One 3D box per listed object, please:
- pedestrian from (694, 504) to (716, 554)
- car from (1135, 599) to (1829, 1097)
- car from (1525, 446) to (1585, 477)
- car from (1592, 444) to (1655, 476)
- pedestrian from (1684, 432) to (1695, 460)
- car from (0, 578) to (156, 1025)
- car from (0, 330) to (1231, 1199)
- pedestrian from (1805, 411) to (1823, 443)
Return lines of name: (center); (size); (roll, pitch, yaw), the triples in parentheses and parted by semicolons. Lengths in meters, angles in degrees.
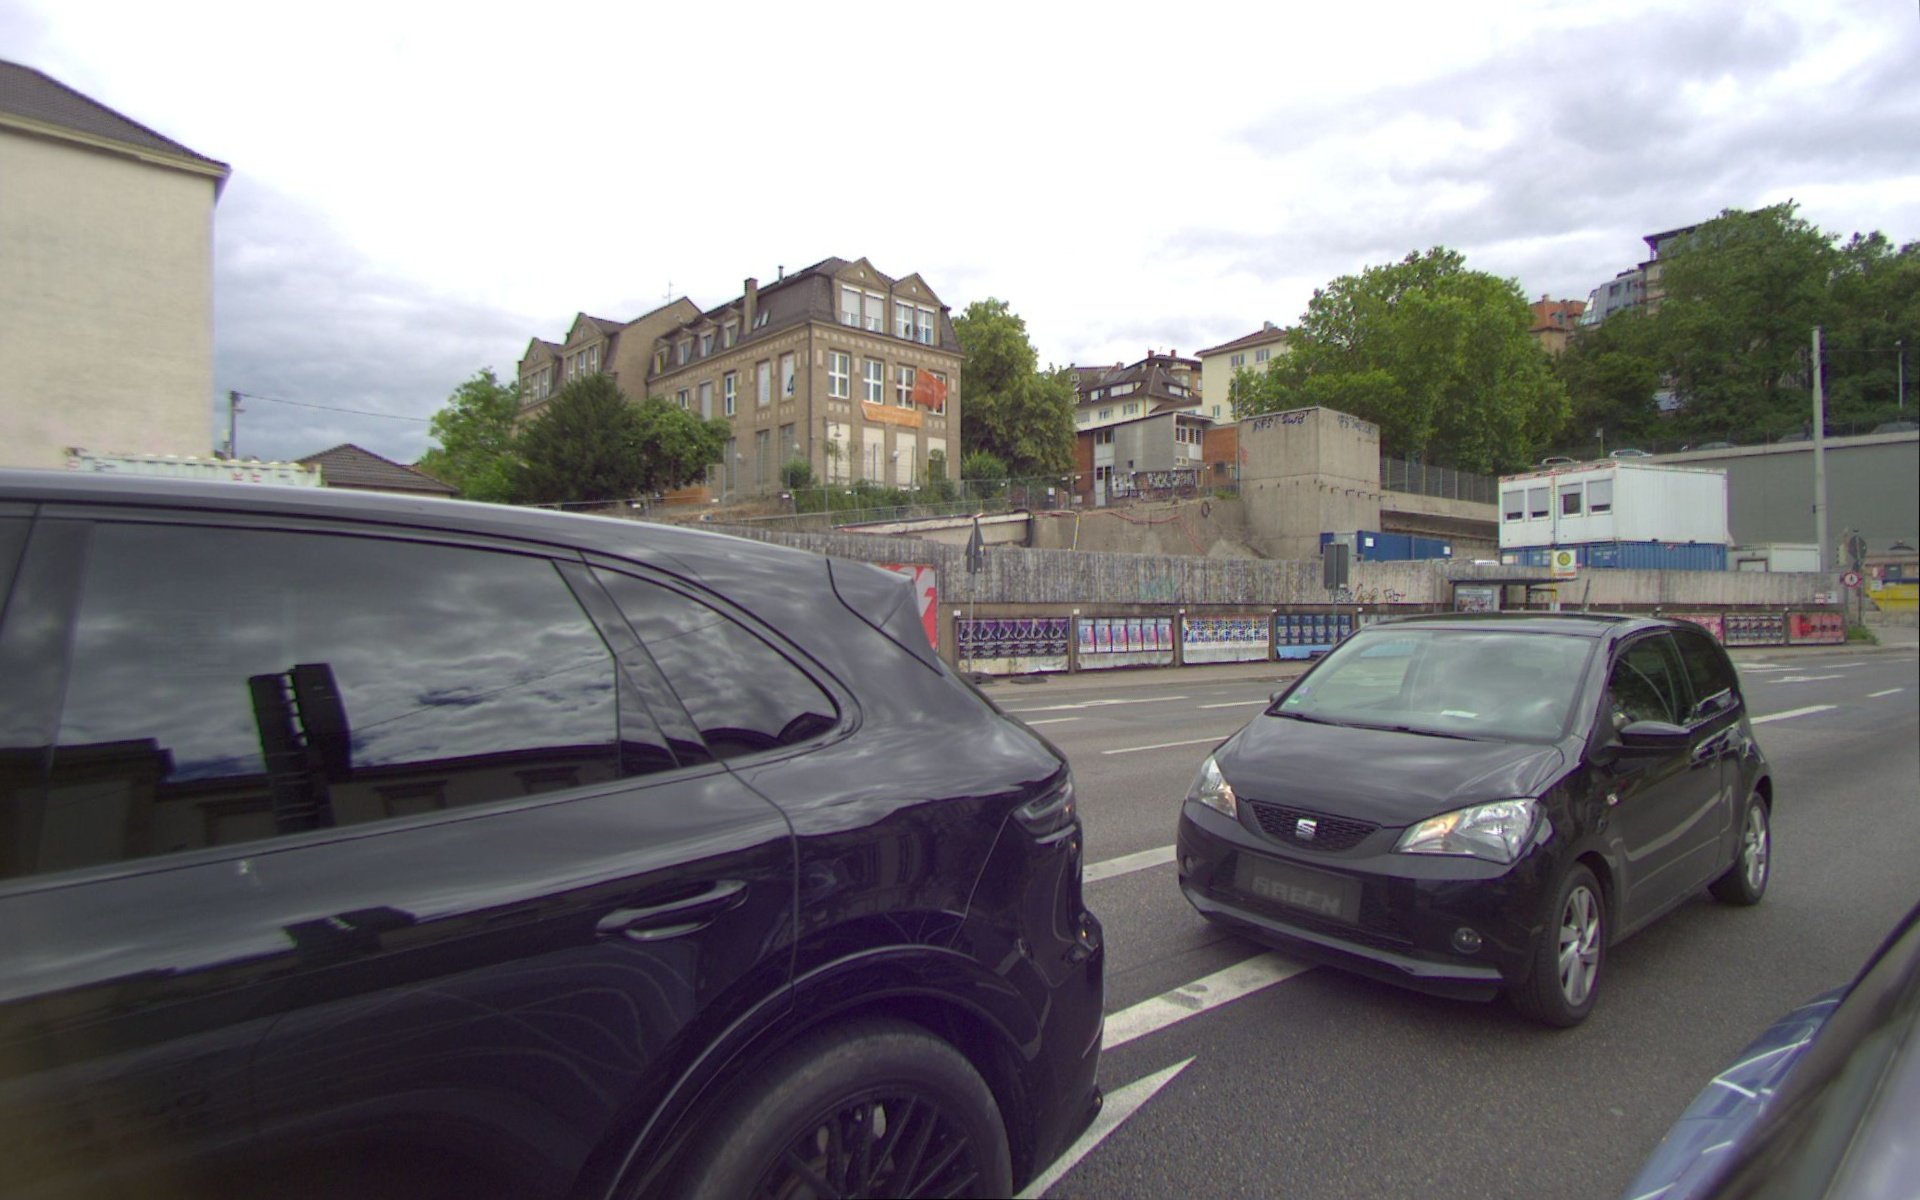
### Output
pedestrian: (-10.618, -2.947, 42.077); (0.656, 2.039, 0.644); (0, 0, -45)
car: (2.753, 0.768, 4.964); (3.812, 1.515, 1.666); (0, -1, -40)
car: (50.023, -11.612, 85.149); (3.988, 2.039, 1.968); (0, 0, 45)
car: (53.342, -11.210, 81.363); (3.988, 2.039, 1.968); (0, 0, 45)
pedestrian: (56.405, -11.873, 78.254); (0.568, 2.039, 0.580); (0, 0, -44)
car: (-5.034, 0.710, 3.248); (3.812, 1.563, 1.666); (0, -1, -40)
car: (-1.771, 0.601, 1.533); (4.552, 1.707, 1.959); (0, -1, -40)
pedestrian: (59.596, -12.075, 70.601); (0.891, 2.039, 0.849); (1, -1, -45)
